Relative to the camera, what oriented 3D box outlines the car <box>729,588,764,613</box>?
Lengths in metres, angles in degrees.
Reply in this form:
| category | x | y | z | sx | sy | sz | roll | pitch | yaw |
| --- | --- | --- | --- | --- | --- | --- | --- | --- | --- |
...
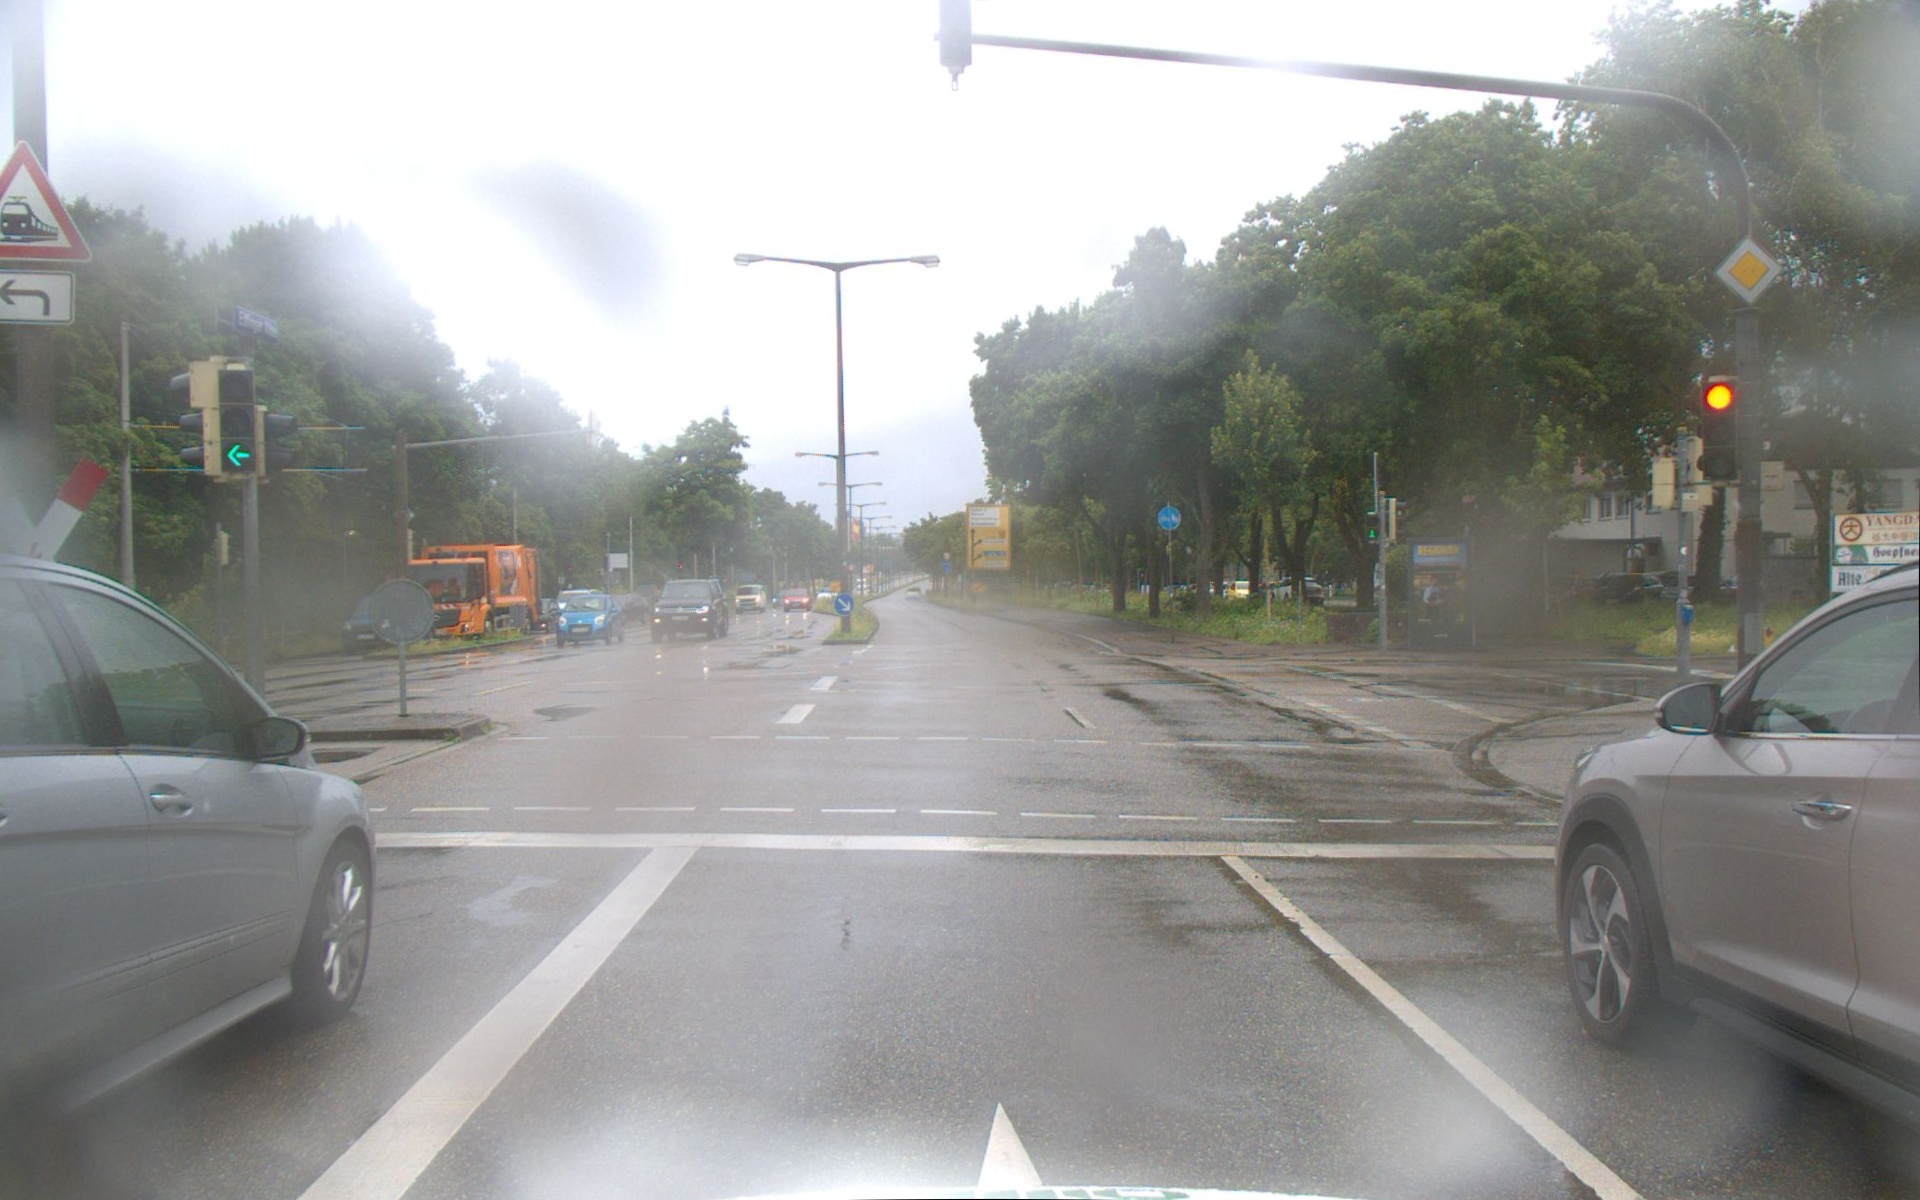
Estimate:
| category | x | y | z | sx | sy | sz | roll | pitch | yaw |
| --- | --- | --- | --- | --- | --- | --- | --- | --- | --- |
| car | -14.393 | 0.027 | 111.615 | 1.855 | 1.639 | 4.499 | -1 | 1 | -1 |

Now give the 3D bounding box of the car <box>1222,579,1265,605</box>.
| category | x | y | z | sx | sy | sz | roll | pitch | yaw |
| --- | --- | --- | --- | --- | --- | --- | --- | --- | --- |
| car | 17.005 | -0.451 | 99.234 | 1.605 | 1.512 | 4.070 | 1 | 0 | -4 |

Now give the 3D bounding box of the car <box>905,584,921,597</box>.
| category | x | y | z | sx | sy | sz | roll | pitch | yaw |
| --- | --- | --- | --- | --- | --- | --- | --- | --- | --- |
| car | -5.511 | -1.127 | 193.609 | 1.868 | 1.541 | 3.999 | -1 | 0 | -1 |

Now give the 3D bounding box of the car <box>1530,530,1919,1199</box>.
| category | x | y | z | sx | sy | sz | roll | pitch | yaw |
| --- | --- | --- | --- | --- | --- | --- | --- | --- | --- |
| car | 3.135 | 0.663 | 4.213 | 1.846 | 1.638 | 4.194 | 0 | 0 | -1 |

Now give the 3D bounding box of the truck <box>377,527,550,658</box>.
| category | x | y | z | sx | sy | sz | roll | pitch | yaw |
| --- | --- | --- | --- | --- | --- | --- | --- | --- | --- |
| truck | -17.542 | -0.229 | 59.337 | 3.317 | 4.240 | 10.402 | 1 | 0 | -2 |

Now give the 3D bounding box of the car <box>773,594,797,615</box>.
| category | x | y | z | sx | sy | sz | roll | pitch | yaw |
| --- | --- | --- | --- | --- | --- | --- | --- | --- | --- |
| car | -15.136 | 0.364 | 143.465 | 1.672 | 1.670 | 4.330 | -3 | 0 | -1 |

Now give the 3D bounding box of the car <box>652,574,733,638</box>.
| category | x | y | z | sx | sy | sz | roll | pitch | yaw |
| --- | --- | --- | --- | --- | --- | --- | --- | --- | --- |
| car | -8.183 | 0.160 | 50.981 | 1.769 | 1.804 | 5.087 | -2 | 1 | -2 |

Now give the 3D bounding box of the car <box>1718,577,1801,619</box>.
| category | x | y | z | sx | sy | sz | roll | pitch | yaw |
| --- | --- | --- | --- | --- | --- | --- | --- | --- | --- |
| car | 29.055 | -0.057 | 60.088 | 3.724 | 1.474 | 1.577 | 1 | 0 | -45 |

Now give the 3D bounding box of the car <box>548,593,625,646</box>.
| category | x | y | z | sx | sy | sz | roll | pitch | yaw |
| --- | --- | --- | --- | --- | --- | --- | --- | --- | --- |
| car | -11.241 | 0.577 | 49.993 | 1.608 | 1.452 | 3.997 | -3 | 0 | -4 |

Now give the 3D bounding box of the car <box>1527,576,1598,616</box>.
| category | x | y | z | sx | sy | sz | roll | pitch | yaw |
| --- | --- | --- | --- | --- | --- | --- | --- | --- | --- |
| car | 23.588 | -0.141 | 64.691 | 1.637 | 1.474 | 3.737 | 1 | 0 | 36 |

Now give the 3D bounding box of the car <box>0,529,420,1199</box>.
| category | x | y | z | sx | sy | sz | roll | pitch | yaw |
| --- | --- | --- | --- | --- | --- | --- | --- | --- | --- |
| car | -2.862 | 0.638 | 4.267 | 1.701 | 1.571 | 4.012 | 0 | 0 | -2 |

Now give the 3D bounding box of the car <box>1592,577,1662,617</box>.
| category | x | y | z | sx | sy | sz | roll | pitch | yaw |
| --- | --- | --- | --- | --- | --- | --- | --- | --- | --- |
| car | 25.680 | -0.107 | 63.620 | 1.637 | 1.474 | 3.737 | 1 | 0 | 36 |

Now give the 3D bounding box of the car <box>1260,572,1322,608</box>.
| category | x | y | z | sx | sy | sz | roll | pitch | yaw |
| --- | --- | --- | --- | --- | --- | --- | --- | --- | --- |
| car | 17.126 | -0.510 | 85.757 | 1.954 | 1.747 | 4.875 | -1 | 0 | -4 |

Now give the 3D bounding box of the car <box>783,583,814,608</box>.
| category | x | y | z | sx | sy | sz | roll | pitch | yaw |
| --- | --- | --- | --- | --- | --- | --- | --- | --- | --- |
| car | -10.973 | -0.275 | 112.490 | 1.765 | 1.597 | 4.426 | -2 | 0 | -3 |

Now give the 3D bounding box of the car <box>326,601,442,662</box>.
| category | x | y | z | sx | sy | sz | roll | pitch | yaw |
| --- | --- | --- | --- | --- | --- | --- | --- | --- | --- |
| car | -17.389 | 0.921 | 50.154 | 1.953 | 1.739 | 4.526 | 1 | 0 | -1 |
